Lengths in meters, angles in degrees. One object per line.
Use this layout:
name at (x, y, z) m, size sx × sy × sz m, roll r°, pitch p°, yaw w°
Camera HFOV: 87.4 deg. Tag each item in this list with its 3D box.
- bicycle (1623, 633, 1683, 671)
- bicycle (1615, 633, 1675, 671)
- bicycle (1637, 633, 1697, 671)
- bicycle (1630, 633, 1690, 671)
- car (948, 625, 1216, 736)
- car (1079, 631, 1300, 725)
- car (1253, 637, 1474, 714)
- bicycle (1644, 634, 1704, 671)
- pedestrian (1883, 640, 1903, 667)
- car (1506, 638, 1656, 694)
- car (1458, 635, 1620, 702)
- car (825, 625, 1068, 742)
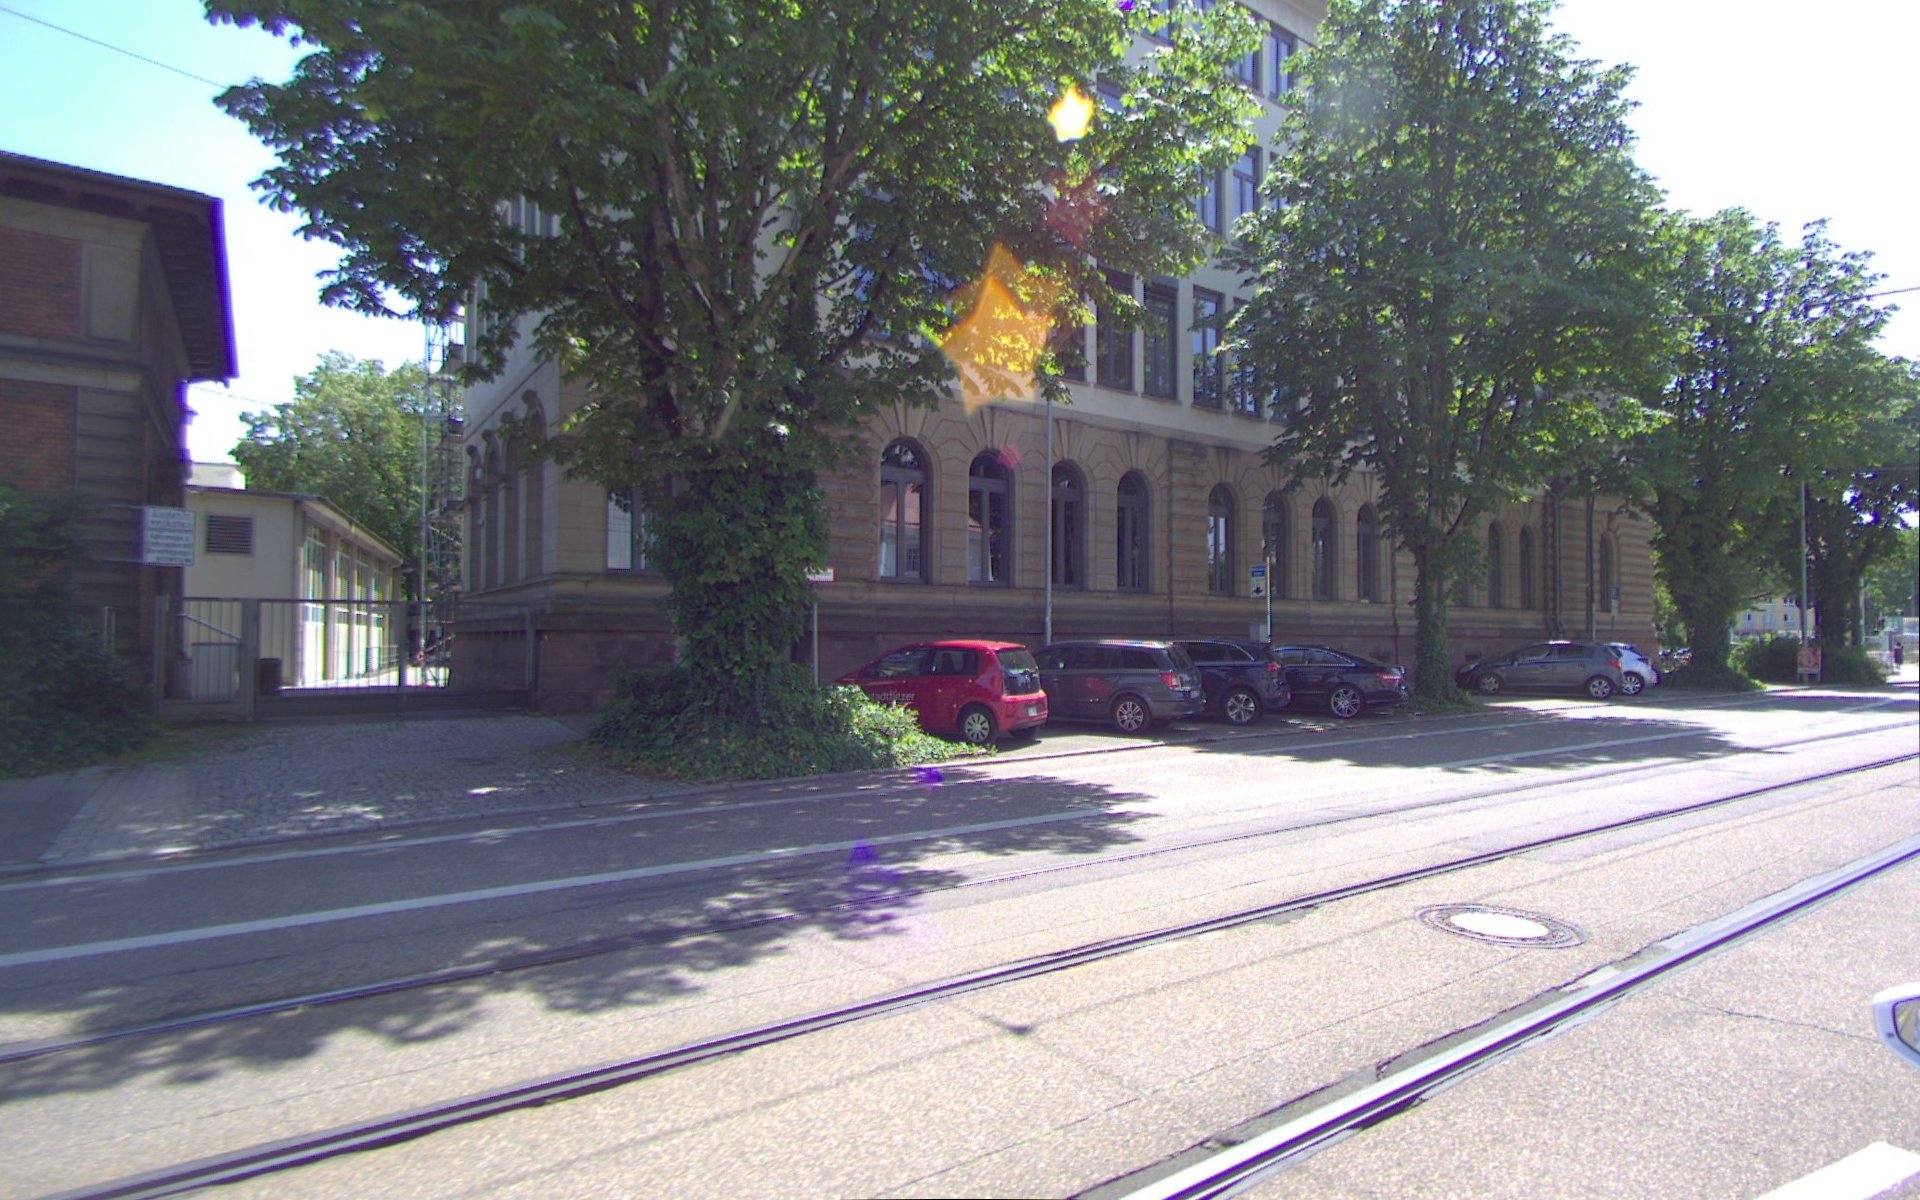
bicycle at (32.304, 2.422, 46.888) m, size 0.545 × 1.714 × 2.311 m, roll 3°, pitch -2°, yaw -29°
bicycle at (31.756, 2.404, 46.589) m, size 0.545 × 1.714 × 2.311 m, roll 3°, pitch -2°, yaw -29°
bicycle at (33.372, 2.444, 47.452) m, size 0.545 × 1.714 × 2.311 m, roll 3°, pitch -2°, yaw -29°
bicycle at (32.841, 2.439, 47.146) m, size 0.545 × 1.714 × 2.311 m, roll 3°, pitch -2°, yaw -29°
car at (2.079, 1.295, 17.274) m, size 4.241 × 1.605 × 1.668 m, roll 1°, pitch -1°, yaw 26°
car at (4.302, 1.396, 18.857) m, size 3.747 × 1.597 × 1.792 m, roll -1°, pitch -2°, yaw 26°
car at (7.953, 1.430, 19.850) m, size 3.864 × 1.392 × 1.666 m, roll -1°, pitch -2°, yaw 30°
bicycle at (33.897, 2.473, 47.736) m, size 0.545 × 1.714 × 2.311 m, roll 3°, pitch -2°, yaw -29°
pedestrian at (57.240, 3.260, 61.638) m, size 0.814 × 1.623 × 0.604 m, roll 1°, pitch -2°, yaw -25°
car at (17.540, 1.827, 28.552) m, size 3.484 × 1.424 × 1.700 m, roll 0°, pitch -2°, yaw 27°
car at (15.235, 1.762, 26.645) m, size 3.609 × 1.540 × 1.667 m, roll 1°, pitch -1°, yaw 27°
car at (-0.216, 1.191, 15.312) m, size 3.292 × 1.536 × 1.666 m, roll 1°, pitch -2°, yaw 30°
